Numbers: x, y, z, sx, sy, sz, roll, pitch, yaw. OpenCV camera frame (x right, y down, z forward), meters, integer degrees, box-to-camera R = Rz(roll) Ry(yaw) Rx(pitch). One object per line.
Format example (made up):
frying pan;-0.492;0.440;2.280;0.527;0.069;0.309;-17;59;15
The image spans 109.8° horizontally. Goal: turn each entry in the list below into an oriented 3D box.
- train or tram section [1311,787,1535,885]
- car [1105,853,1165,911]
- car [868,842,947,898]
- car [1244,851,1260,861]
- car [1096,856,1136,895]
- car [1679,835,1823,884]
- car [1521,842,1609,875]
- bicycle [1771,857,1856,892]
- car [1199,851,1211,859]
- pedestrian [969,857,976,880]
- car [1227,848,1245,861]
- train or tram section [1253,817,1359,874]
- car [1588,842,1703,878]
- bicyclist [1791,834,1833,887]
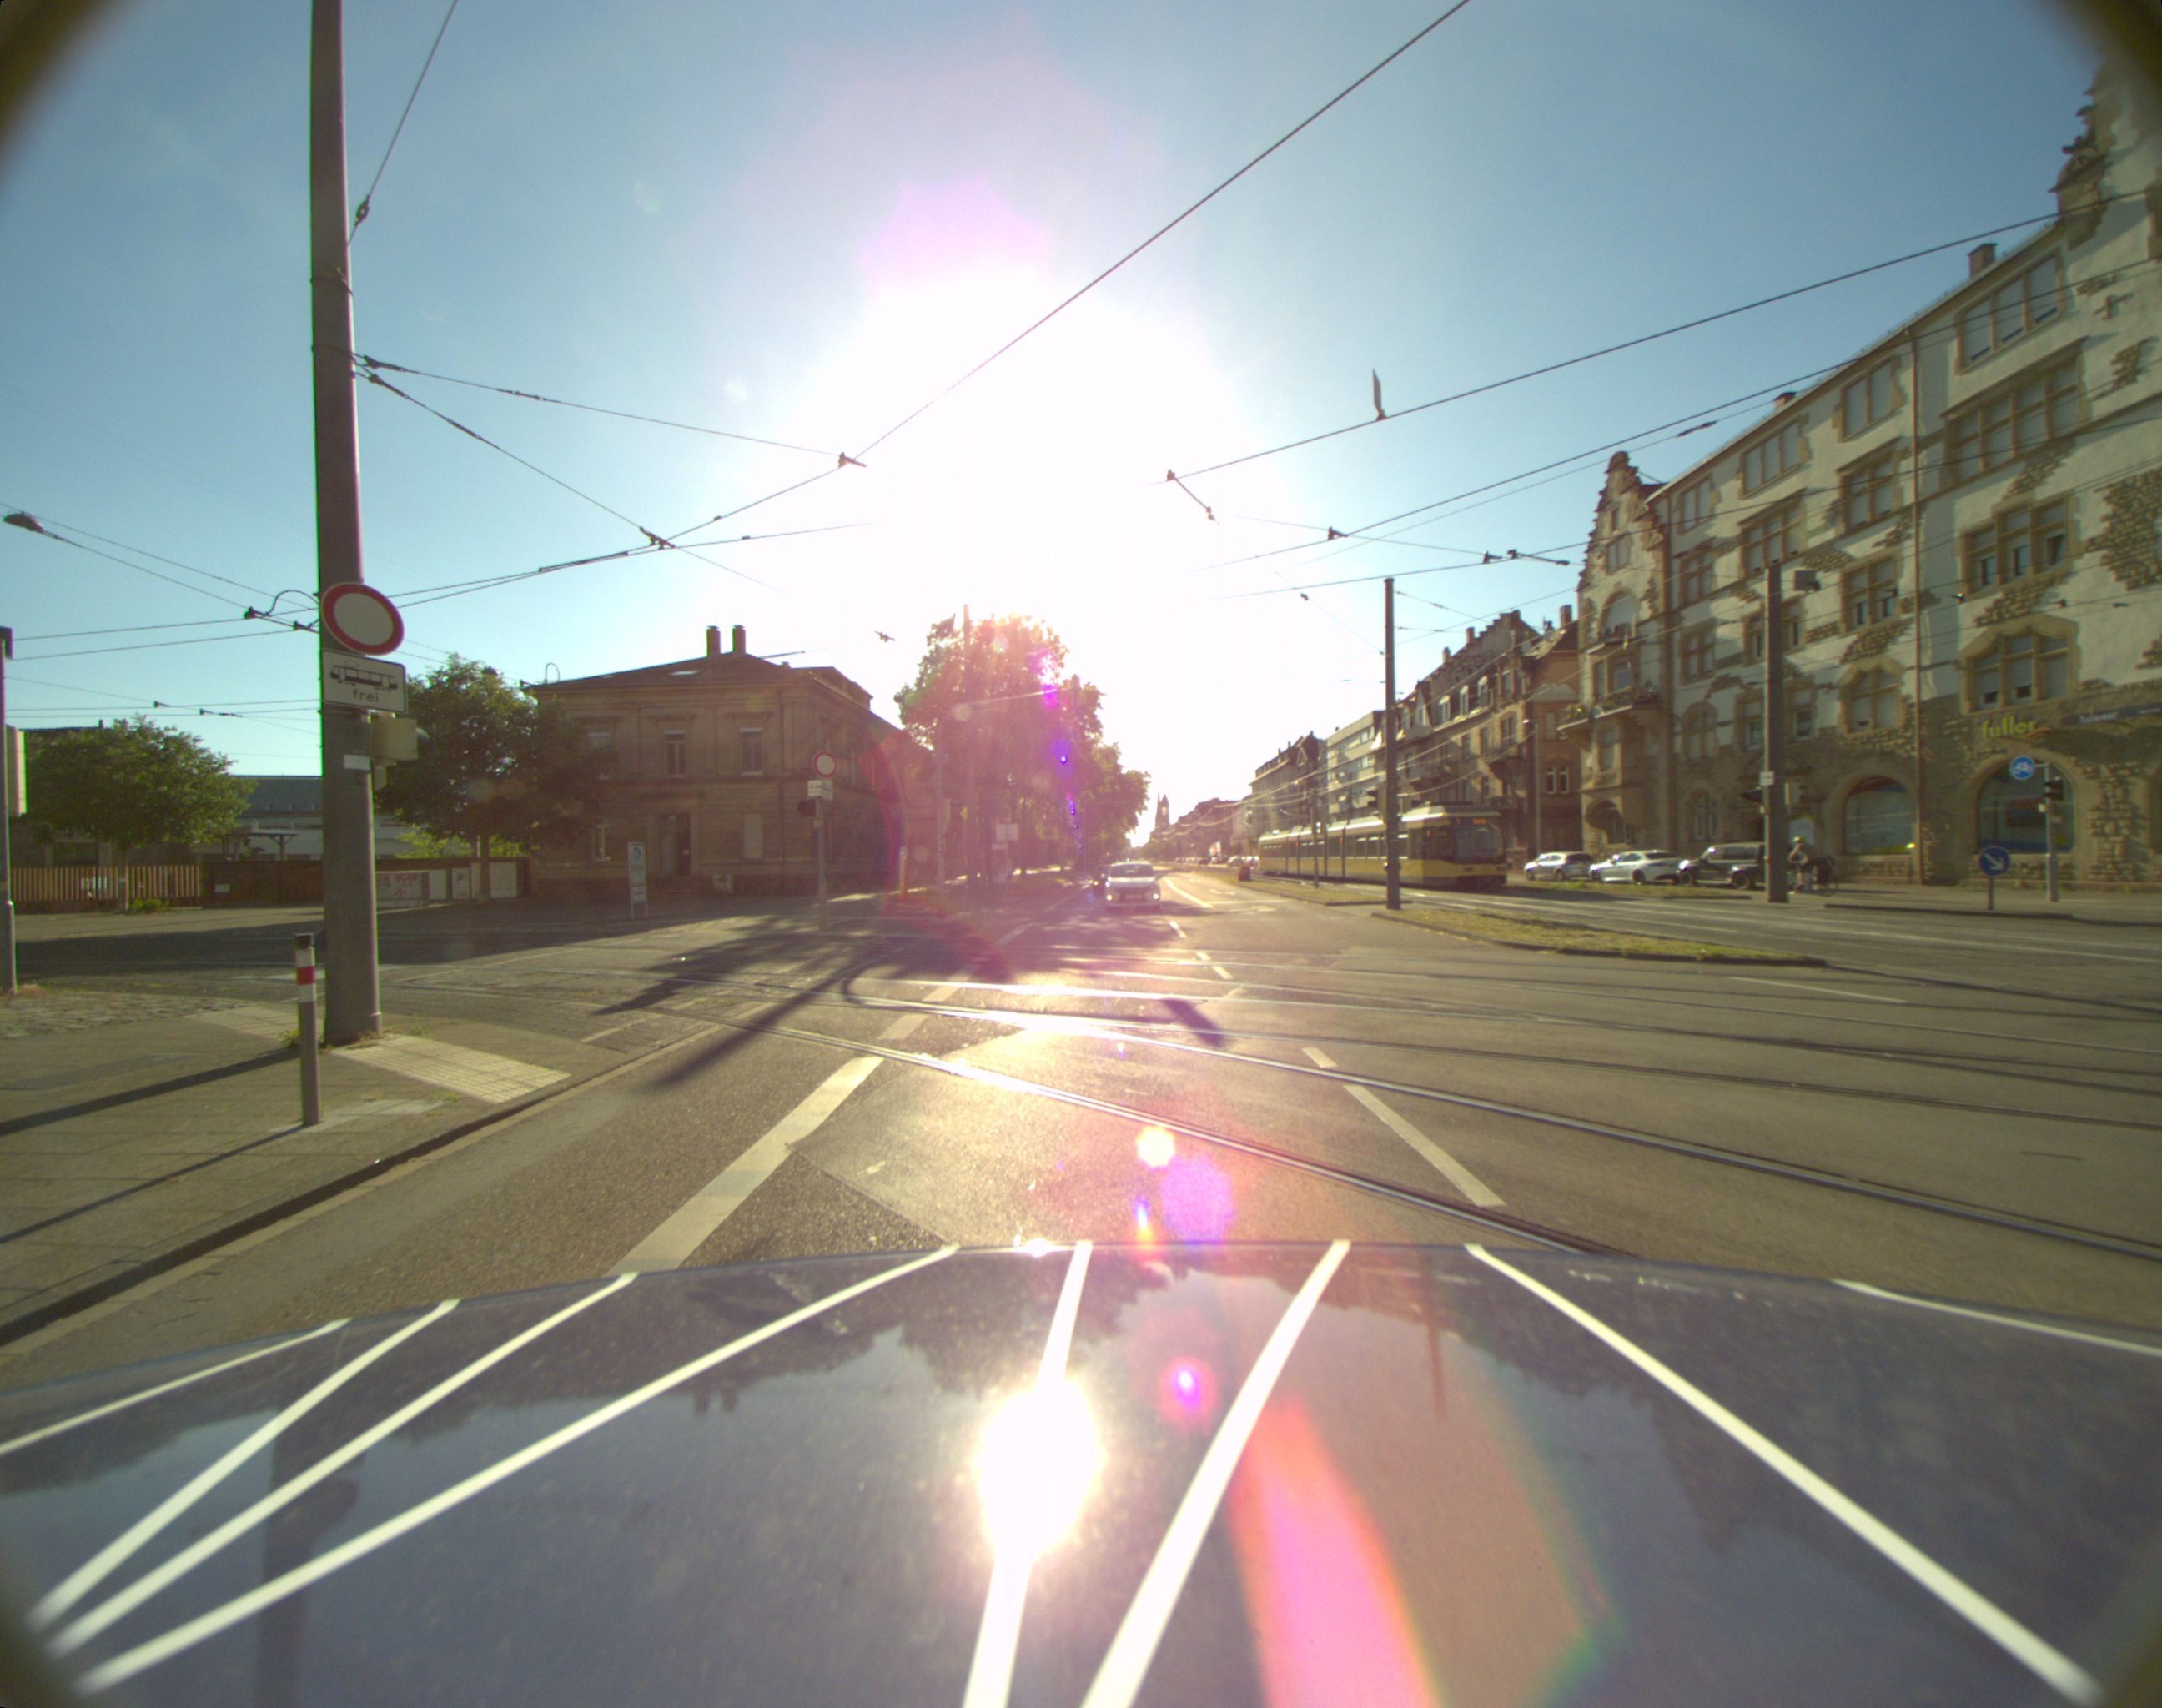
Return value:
train or tram section;15.127;-0.571;36.786;2.781;3.378;19.478;-2;0;2
car;1.634;0.800;23.603;1.648;1.555;3.666;-2;0;2
car;-6.933;0.583;30.764;1.833;2.034;4.001;-2;1;6
car;29.134;0.283;129.627;1.780;1.660;4.000;-1;0;1
car;1.601;0.938;34.809;1.648;1.555;3.666;-2;0;2
car;24.444;0.184;27.942;1.780;1.660;4.000;-1;0;1
car;24.578;0.237;38.750;1.741;1.516;3.999;-3;0;-2
bicycle;22.440;0.611;23.335;0.607;0.996;2.069;-1;0;0
car;24.735;0.198;151.791;1.780;1.660;4.000;-1;0;1
pedestrian;-7.803;1.018;54.582;0.364;1.635;0.390;-1;1;3
car;22.243;0.064;108.963;1.780;1.660;4.000;-1;0;1
train or tram section;16.011;-0.588;56.283;2.781;3.379;19.475;-2;0;2
car;24.605;0.249;33.351;1.727;1.467;4.432;-1;0;0
bicyclist;22.437;0.200;23.332;0.683;1.609;0.630;-1;1;1
